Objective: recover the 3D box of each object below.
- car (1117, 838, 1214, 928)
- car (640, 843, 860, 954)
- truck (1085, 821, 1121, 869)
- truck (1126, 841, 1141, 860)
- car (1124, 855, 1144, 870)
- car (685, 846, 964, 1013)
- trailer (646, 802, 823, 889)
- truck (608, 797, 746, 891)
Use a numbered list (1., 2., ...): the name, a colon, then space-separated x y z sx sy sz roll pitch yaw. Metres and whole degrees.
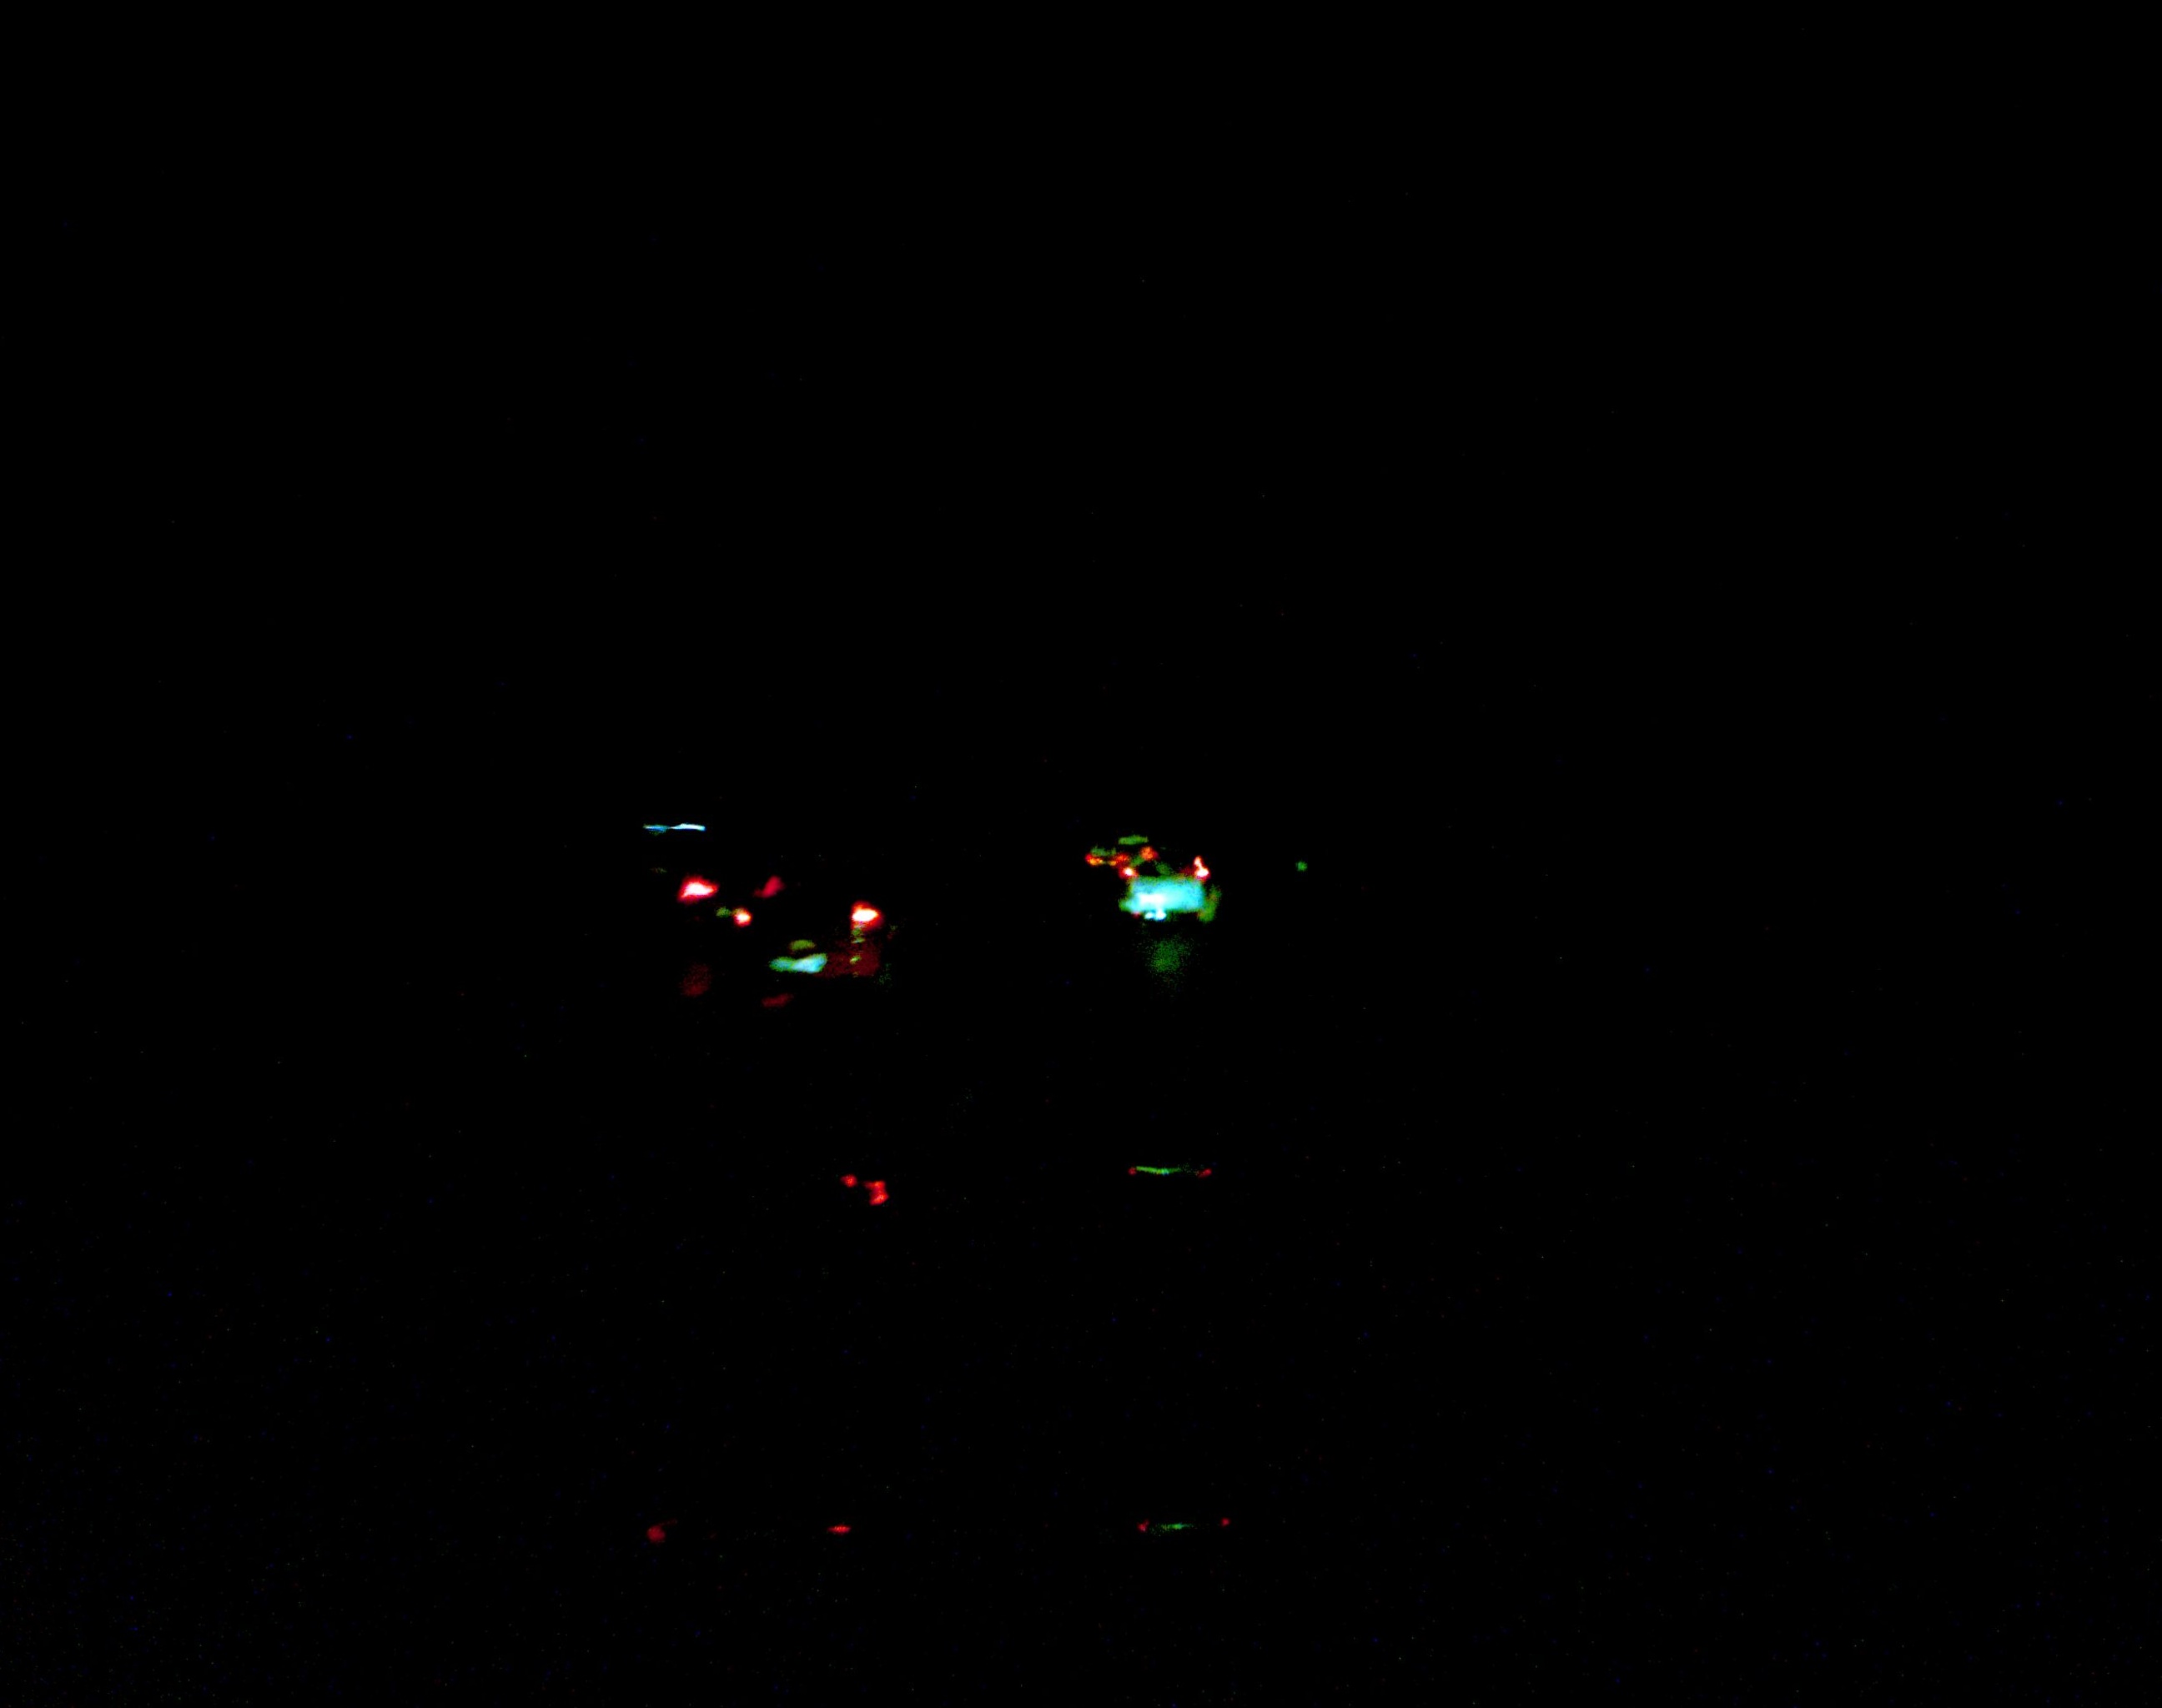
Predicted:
1. car: 1.814 0.621 18.977 1.945 1.792 5.127 -1 -1 2
2. car: -6.038 0.754 15.642 1.985 1.777 4.891 -1 -1 3
3. truck: 2.809 -0.985 101.206 4.151 5.544 13.081 -1 -1 2
4. truck: 14.028 -0.814 218.013 3.809 4.915 11.612 0 -1 2
5. car: 5.403 0.867 83.632 1.883 1.354 4.002 3 0 2
6. car: -2.791 0.758 9.997 1.908 1.594 4.236 -1 -1 3
7. trailer: -20.679 -0.369 50.332 4.149 4.624 13.970 -1 -1 4
8. truck: -21.135 -0.460 43.127 4.150 4.624 5.851 -1 -1 3
